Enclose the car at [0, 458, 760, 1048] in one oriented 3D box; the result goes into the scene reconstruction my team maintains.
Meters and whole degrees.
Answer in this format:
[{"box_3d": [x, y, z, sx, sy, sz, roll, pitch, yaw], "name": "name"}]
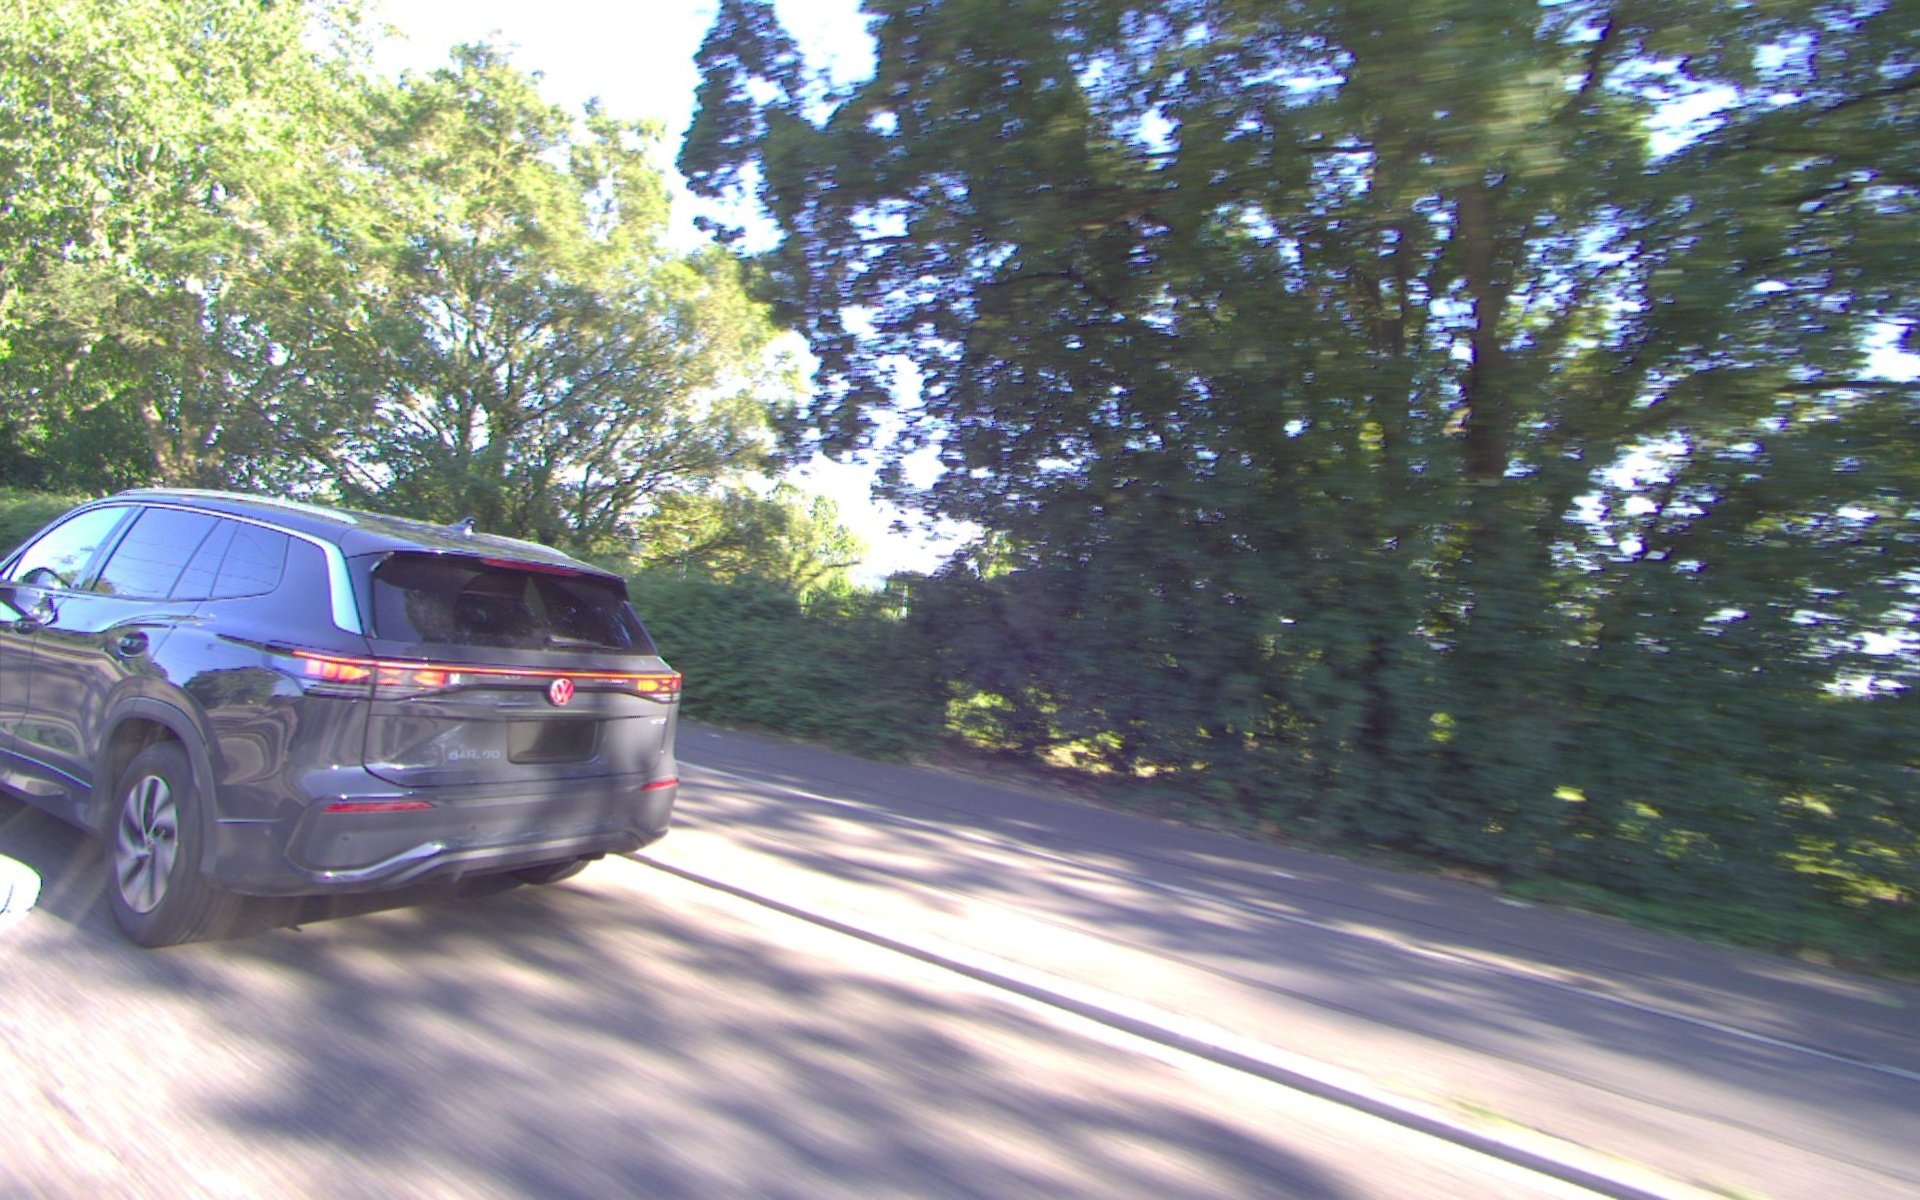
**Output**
[{"box_3d": [-3.317, 0.344, 4.876, 4.365, 1.681, 1.847, 6, 0, 31], "name": "car"}]
